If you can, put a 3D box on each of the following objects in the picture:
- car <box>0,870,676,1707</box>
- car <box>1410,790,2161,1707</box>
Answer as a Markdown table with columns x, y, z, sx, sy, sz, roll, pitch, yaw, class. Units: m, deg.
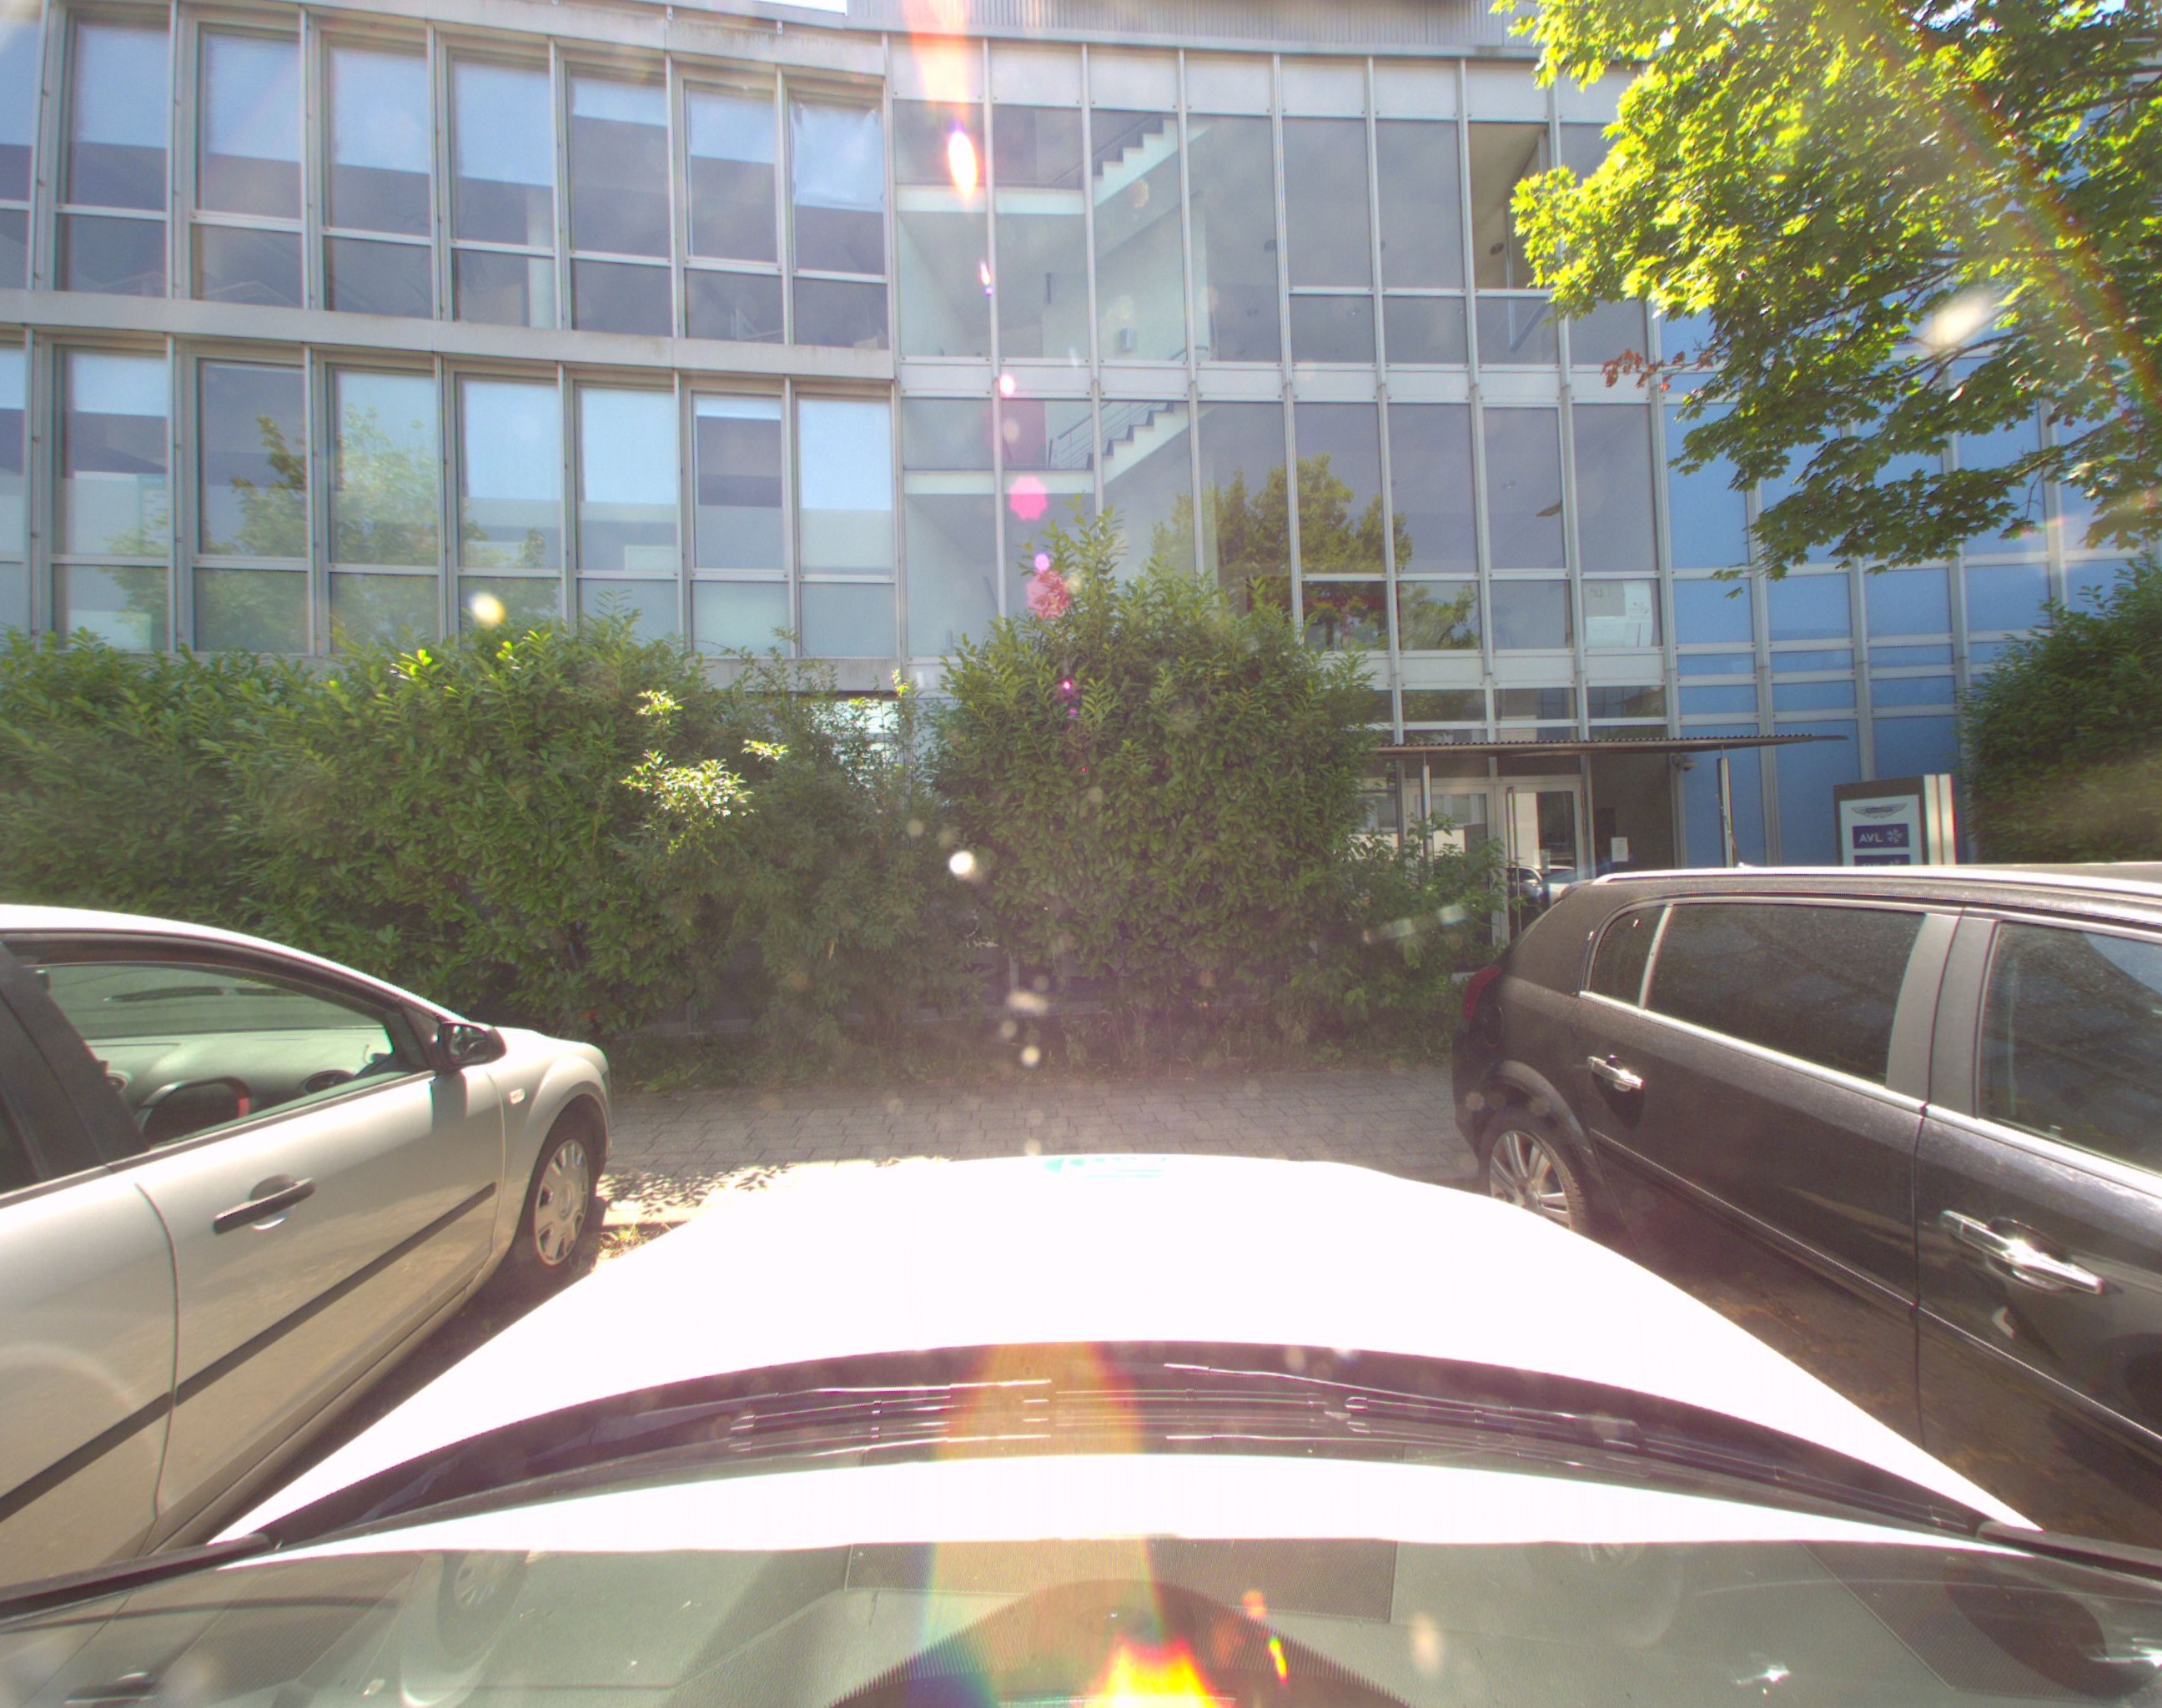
| x | y | z | sx | sy | sz | roll | pitch | yaw | class |
| --- | --- | --- | --- | --- | --- | --- | --- | --- | --- |
| -2.448 | 0.797 | 1.441 | 1.718 | 1.479 | 4.338 | -1 | -1 | -7 | car |
| 2.441 | 0.672 | 1.406 | 1.753 | 1.549 | 4.561 | -1 | -1 | -2 | car |
